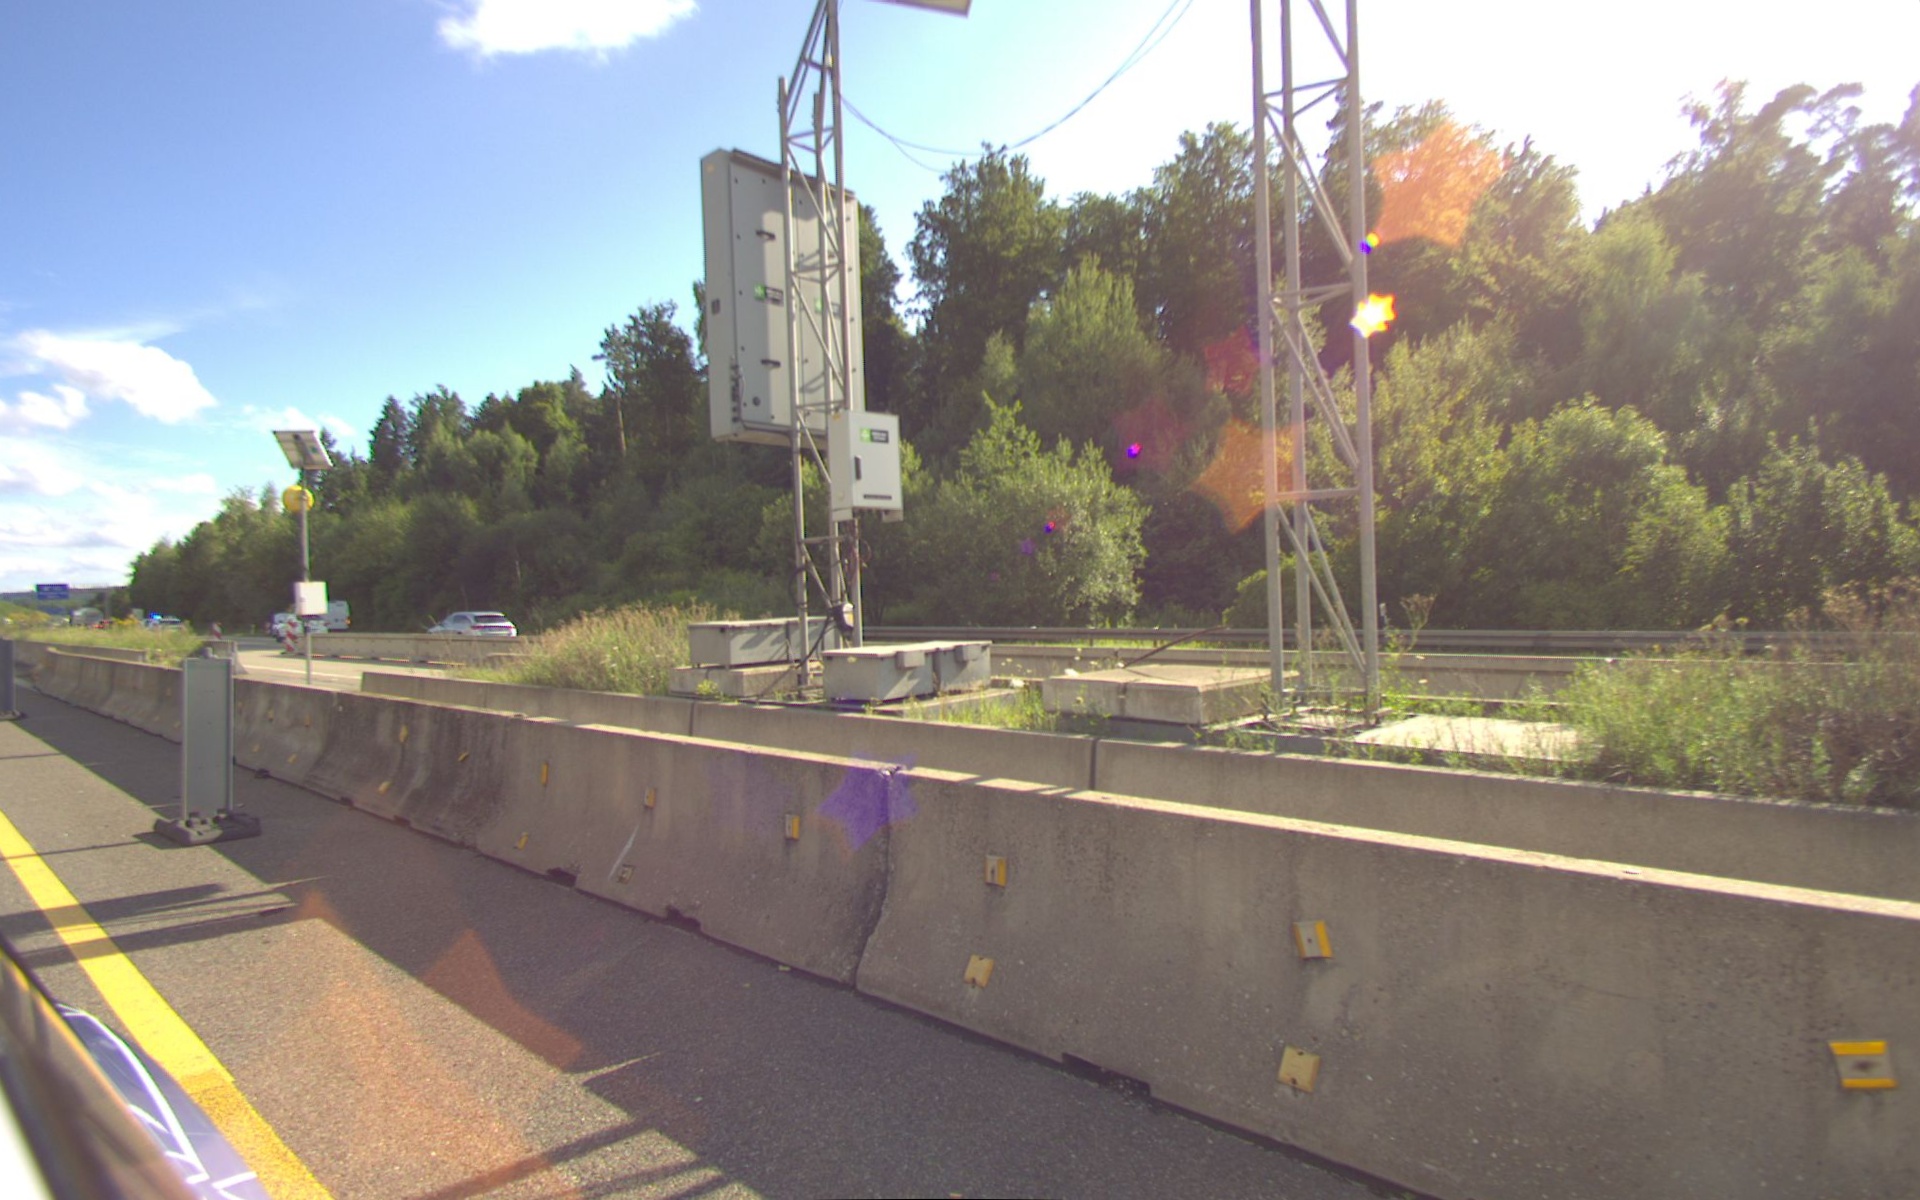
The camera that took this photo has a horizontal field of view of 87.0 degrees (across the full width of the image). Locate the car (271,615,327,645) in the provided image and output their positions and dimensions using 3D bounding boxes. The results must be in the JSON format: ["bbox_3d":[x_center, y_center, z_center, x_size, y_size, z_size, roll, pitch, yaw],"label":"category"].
[{"bbox_3d":[-37.206,1.683,56.956,4.018,1.614,1.758,-1,0,44],"label":"car"}]

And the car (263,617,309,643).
[{"bbox_3d":[-50.738,2.241,76.149,4.763,1.867,1.840,-1,0,44],"label":"car"}]

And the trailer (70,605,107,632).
[{"bbox_3d":[-119.432,2.532,138.597,11.114,3.516,2.771,-1,0,43],"label":"trailer"}]

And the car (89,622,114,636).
[{"bbox_3d":[-98.488,3.321,116.069,4.018,1.614,1.758,-1,0,44],"label":"car"}]

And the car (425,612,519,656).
[{"bbox_3d":[-19.077,1.297,39.481,4.677,1.614,1.758,-1,0,44],"label":"car"}]

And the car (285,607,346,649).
[{"bbox_3d":[-43.764,1.881,68.659,6.524,2.705,2.005,-1,0,44],"label":"car"}]

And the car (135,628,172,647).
[{"bbox_3d":[-72.634,3.396,91.154,4.481,1.600,1.937,-1,0,42],"label":"car"}]

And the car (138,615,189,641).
[{"bbox_3d":[-52.439,1.839,66.585,4.674,1.614,1.760,-1,0,41],"label":"car"}]
